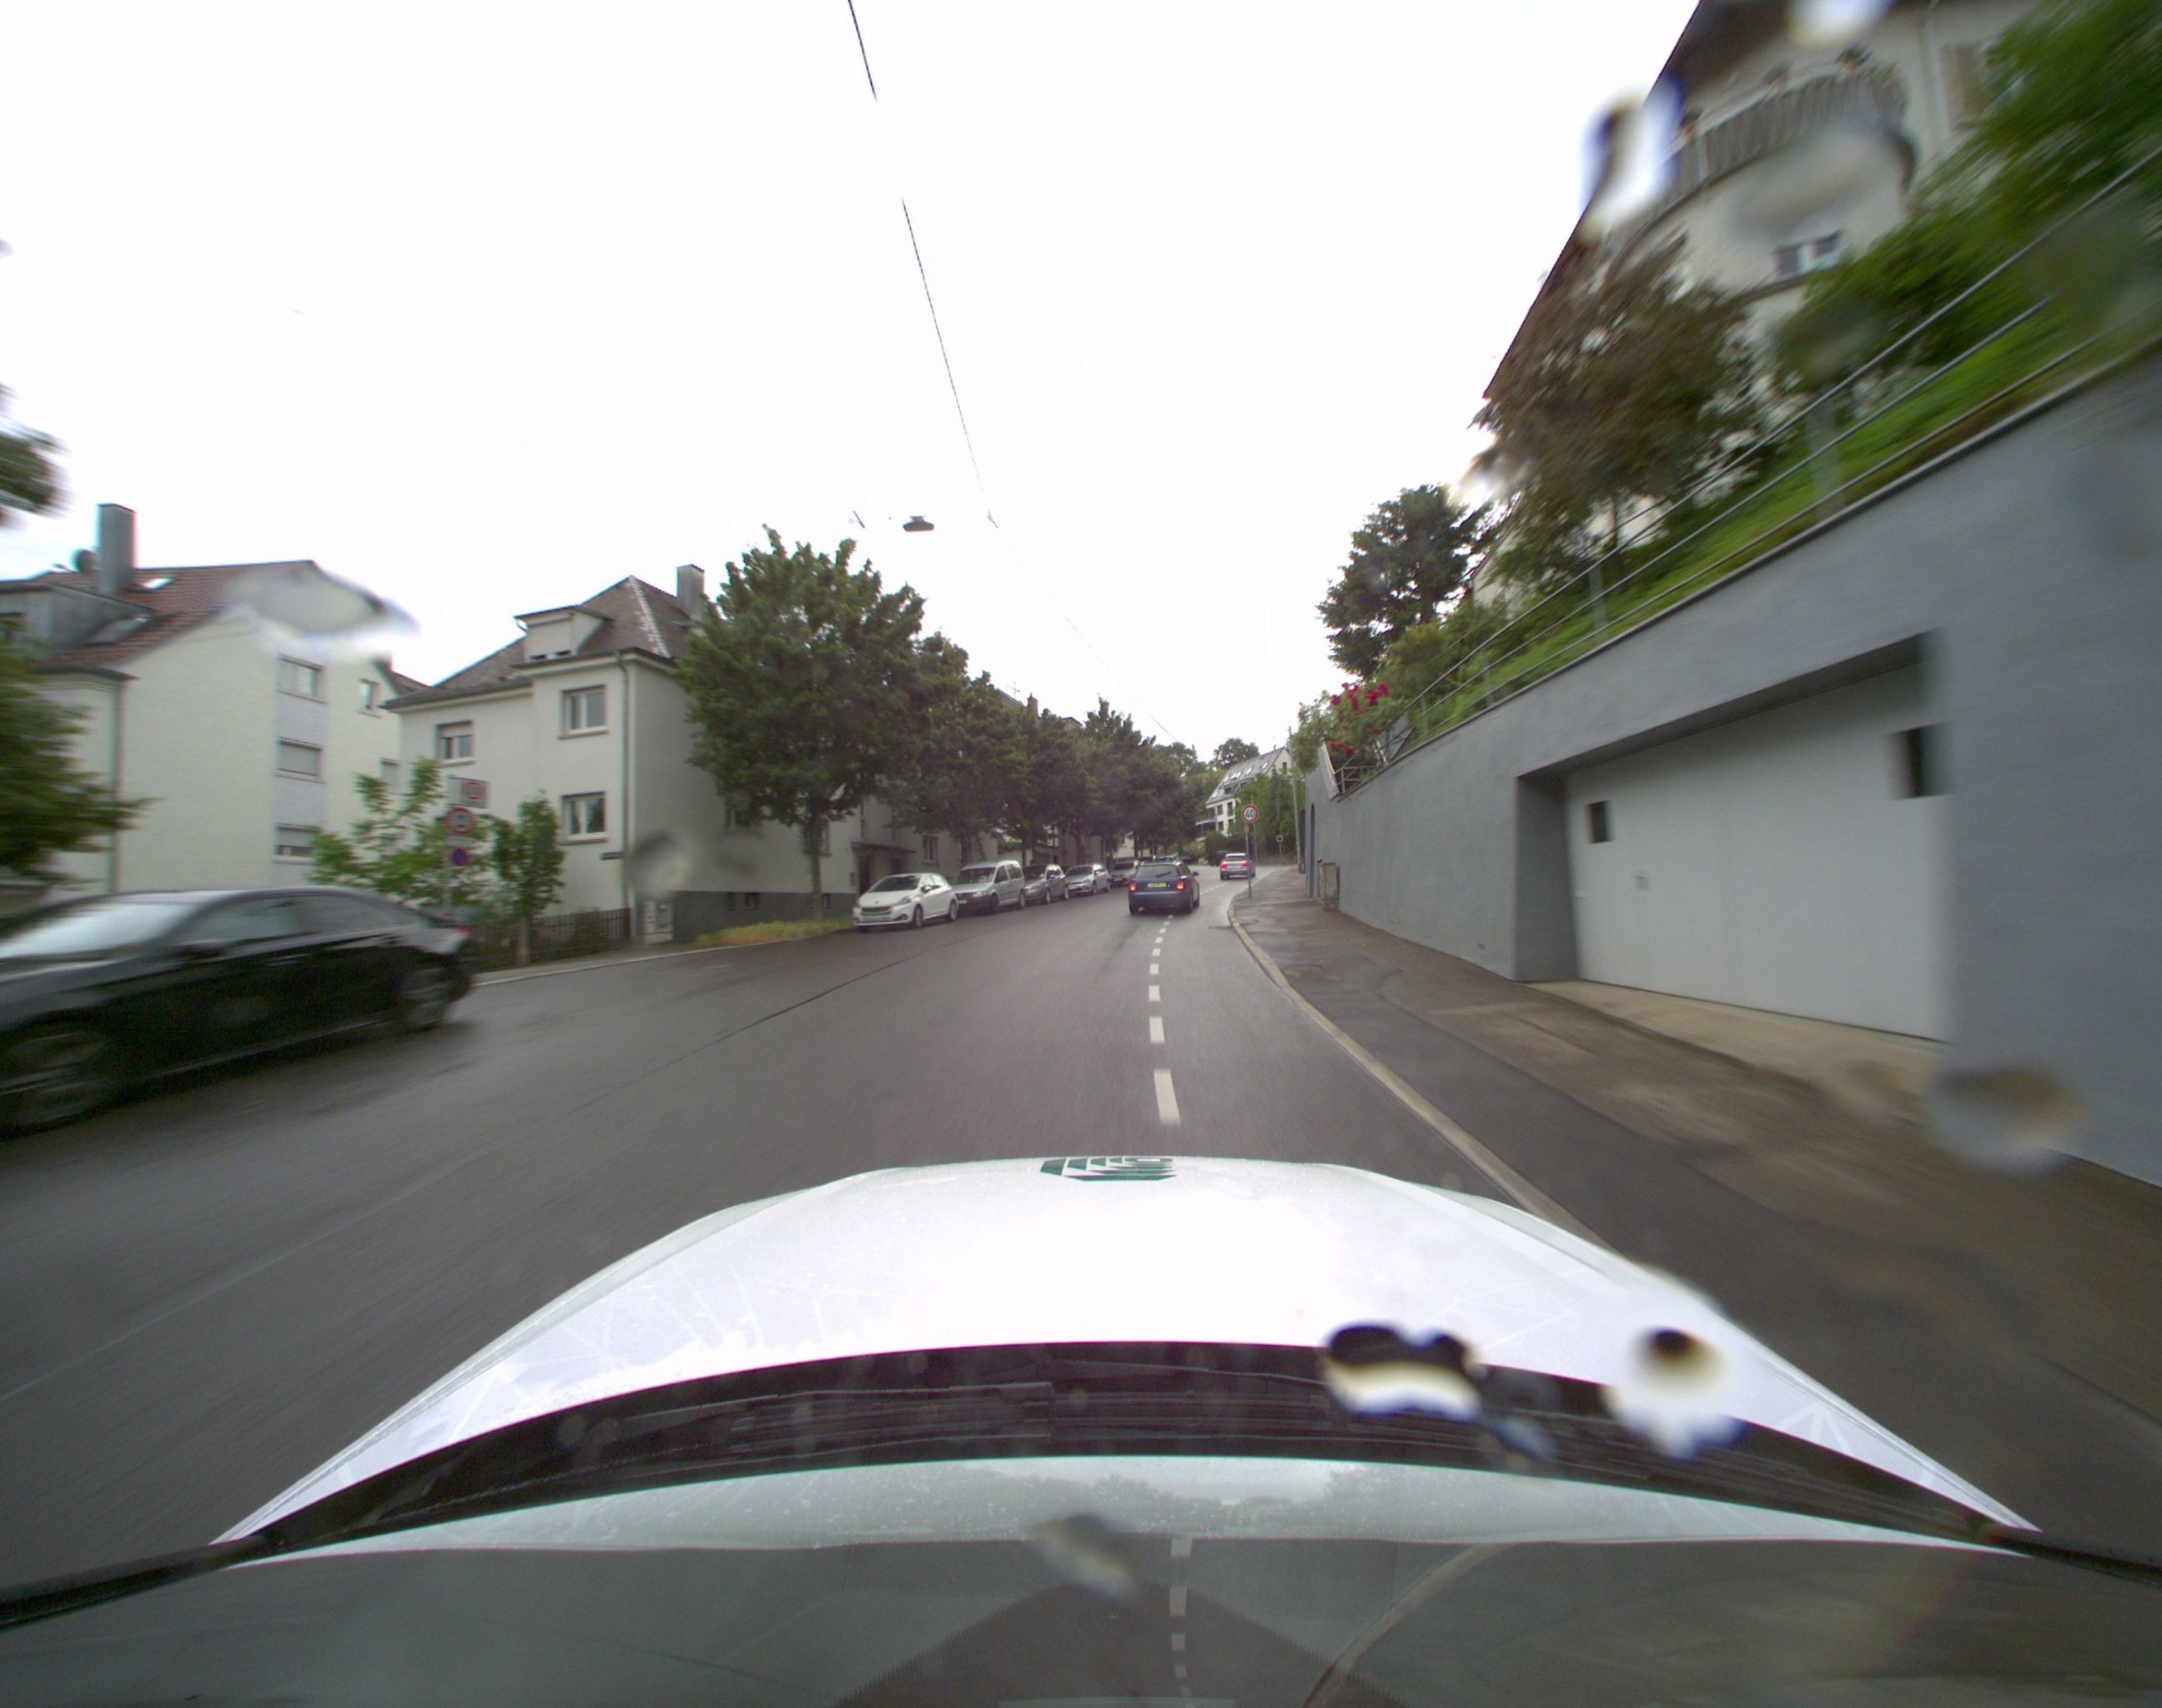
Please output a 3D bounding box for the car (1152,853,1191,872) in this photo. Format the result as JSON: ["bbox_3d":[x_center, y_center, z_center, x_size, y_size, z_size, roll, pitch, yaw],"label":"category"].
[{"bbox_3d":[7.418,0.725,67.127,1.994,1.391,4.182,-2,-1,-10],"label":"car"}]

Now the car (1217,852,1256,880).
[{"bbox_3d":[9.165,0.663,47.814,1.936,1.561,4.280,1,1,15],"label":"car"}]

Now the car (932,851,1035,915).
[{"bbox_3d":[-3.283,0.983,28.421,1.899,2.001,4.567,-2,-2,16],"label":"car"}]

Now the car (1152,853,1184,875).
[{"bbox_3d":[6.680,0.739,62.401,1.699,1.462,3.898,-1,1,17],"label":"car"}]

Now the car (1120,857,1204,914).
[{"bbox_3d":[2.457,0.853,23.760,1.841,1.414,4.377,-3,0,13],"label":"car"}]

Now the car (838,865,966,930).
[{"bbox_3d":[-4.835,1.157,22.696,1.773,1.514,4.359,-5,-2,11],"label":"car"}]

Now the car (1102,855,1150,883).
[{"bbox_3d":[2.766,0.898,49.088,1.791,1.552,4.819,-2,-1,16],"label":"car"}]

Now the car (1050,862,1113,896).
[{"bbox_3d":[0.087,1.152,38.521,1.791,1.453,4.615,-2,-1,15],"label":"car"}]

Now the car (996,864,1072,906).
[{"bbox_3d":[-1.831,1.225,33.374,1.791,1.486,4.252,-5,-2,14],"label":"car"}]

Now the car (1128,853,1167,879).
[{"bbox_3d":[4.522,0.802,55.185,1.791,1.627,4.157,-2,-1,16],"label":"car"}]

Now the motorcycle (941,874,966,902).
[{"bbox_3d":[-5.356,1.414,34.271,0.408,1.098,1.626,-4,0,12],"label":"motorcycle"}]

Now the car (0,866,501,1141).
[{"bbox_3d":[-6.997,0.887,6.256,1.769,1.540,4.517,-1,-1,1],"label":"car"}]

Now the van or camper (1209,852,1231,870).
[{"bbox_3d":[16.761,0.878,98.498,1.987,2.014,4.000,-1,-2,1],"label":"van or camper"}]
